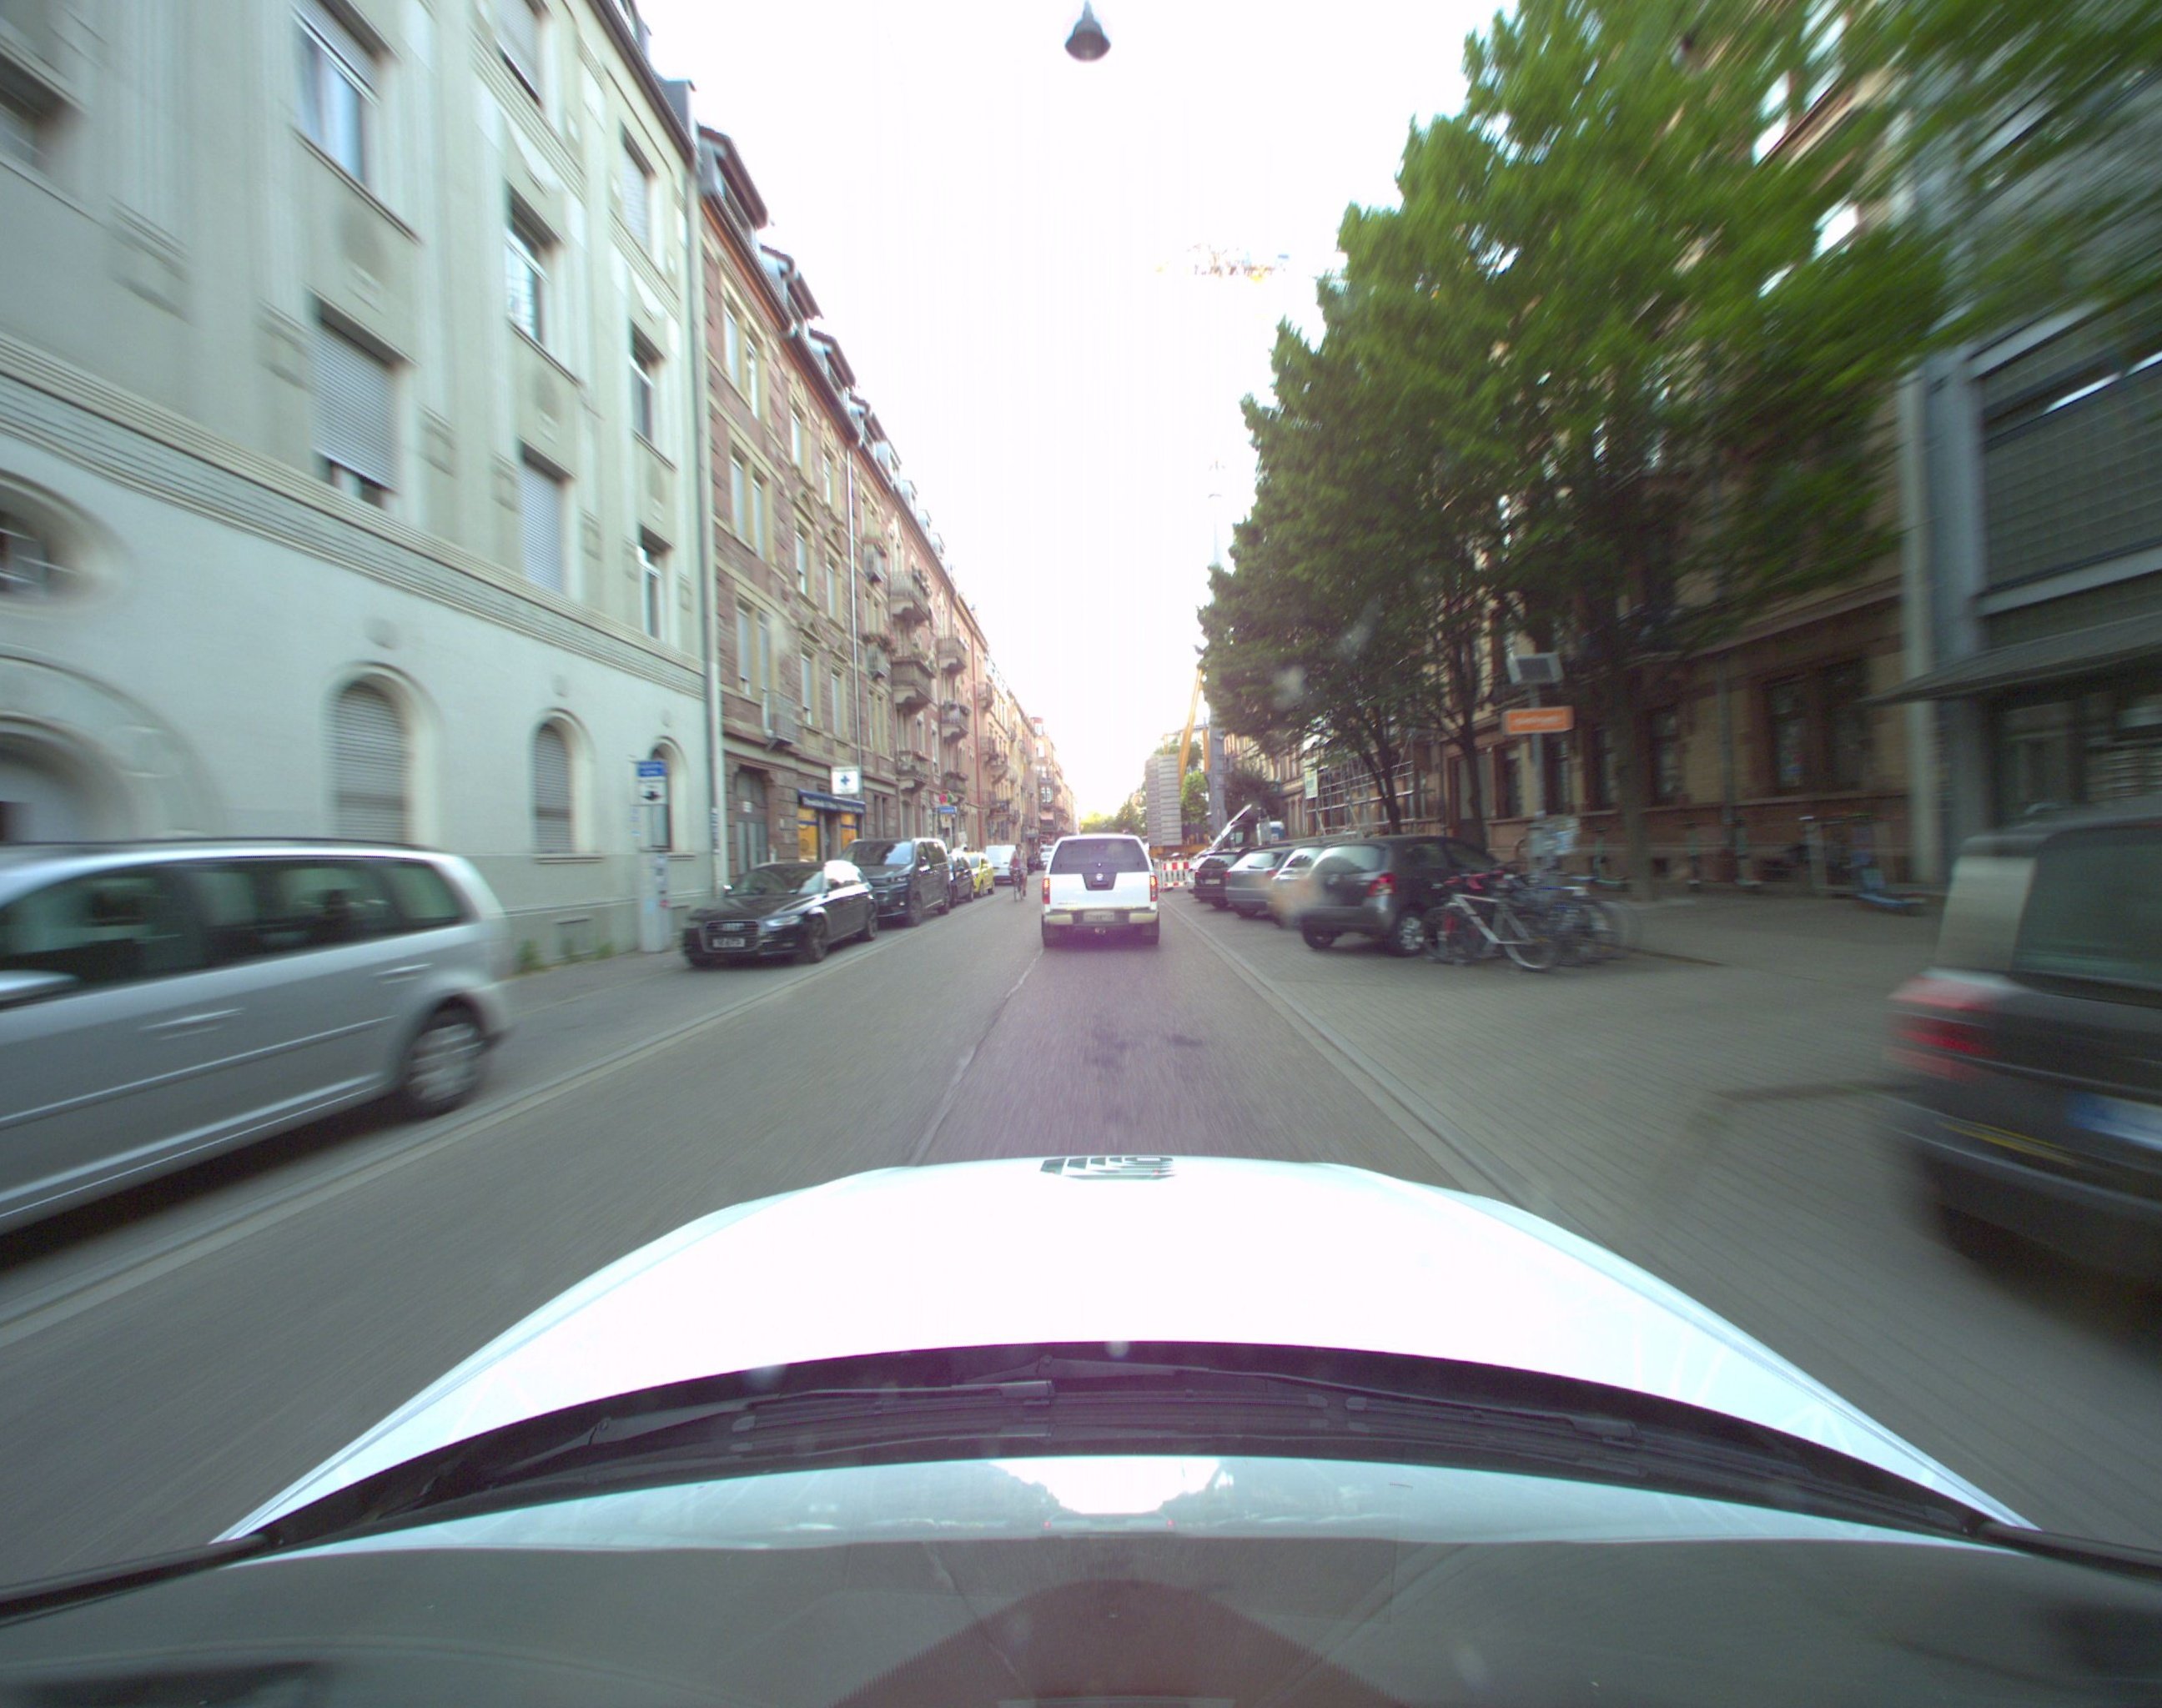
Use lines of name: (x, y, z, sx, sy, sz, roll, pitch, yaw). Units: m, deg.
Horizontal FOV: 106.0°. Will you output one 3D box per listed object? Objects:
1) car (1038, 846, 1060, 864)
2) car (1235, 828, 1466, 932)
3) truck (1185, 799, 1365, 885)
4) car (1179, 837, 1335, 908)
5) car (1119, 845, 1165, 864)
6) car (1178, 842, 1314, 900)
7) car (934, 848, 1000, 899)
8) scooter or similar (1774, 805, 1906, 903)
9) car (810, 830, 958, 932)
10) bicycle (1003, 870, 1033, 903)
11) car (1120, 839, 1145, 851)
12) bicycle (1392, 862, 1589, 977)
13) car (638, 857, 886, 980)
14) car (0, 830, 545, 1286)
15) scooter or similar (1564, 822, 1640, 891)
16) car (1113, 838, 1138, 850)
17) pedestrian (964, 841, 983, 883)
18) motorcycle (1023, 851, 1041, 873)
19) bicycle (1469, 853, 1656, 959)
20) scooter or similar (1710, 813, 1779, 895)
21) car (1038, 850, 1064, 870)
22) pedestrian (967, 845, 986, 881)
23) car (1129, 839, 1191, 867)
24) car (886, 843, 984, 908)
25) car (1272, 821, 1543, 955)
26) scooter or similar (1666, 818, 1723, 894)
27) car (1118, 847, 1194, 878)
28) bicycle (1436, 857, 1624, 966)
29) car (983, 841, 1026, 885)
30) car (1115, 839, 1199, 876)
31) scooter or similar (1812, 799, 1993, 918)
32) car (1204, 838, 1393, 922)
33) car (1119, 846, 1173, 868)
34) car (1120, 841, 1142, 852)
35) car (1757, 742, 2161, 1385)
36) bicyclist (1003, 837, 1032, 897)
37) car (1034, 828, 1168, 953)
car: (-2.826, 0.080, 72.679, 1.704, 1.530, 4.001, -2, 0, 1)
car: (4.984, 0.425, 15.059, 3.843, 1.530, 1.748, -4, 0, -24)
truck: (7.247, -0.395, 31.058, 6.295, 2.977, 2.265, -2, -3, 2)
car: (4.391, 0.397, 20.069, 3.912, 1.530, 1.619, -2, 0, -38)
car: (5.690, 0.072, 76.009, 4.176, 1.622, 1.822, -2, 0, 4)
car: (4.653, 0.440, 22.921, 3.570, 1.464, 1.596, -2, 0, -30)
car: (-3.866, 0.610, 28.269, 1.493, 1.593, 3.859, -2, 0, 3)
scooter or similar: (10.432, -0.011, 11.274, 0.409, 1.218, 1.782, -6, -1, 13)
car: (-4.204, 0.512, 18.313, 1.897, 1.925, 4.949, -1, 0, 2)
bicycle: (-1.980, 1.005, 25.900, 0.798, 0.947, 2.004, -2, 0, -1)
car: (9.711, -1.684, 153.587, 4.567, 2.177, 1.822, -2, 0, 4)
bicycle: (4.440, 0.682, 8.991, 0.696, 1.107, 1.841, -2, -1, -27)
car: (-4.573, 0.821, 12.540, 1.904, 1.472, 4.535, -1, 0, 1)
car: (-4.768, 0.729, 3.495, 1.986, 1.591, 4.315, -1, 0, 1)
scooter or similar: (10.086, 0.038, 15.816, 0.510, 1.242, 1.351, -6, 0, 0)
car: (8.147, -1.855, 149.647, 4.567, 2.177, 1.822, -2, 0, 4)
pedestrian: (-4.855, 0.351, 36.697, 0.735, 1.869, 0.618, -2, 0, 0)
motorcycle: (-3.166, 0.497, 52.760, 0.833, 1.416, 2.550, -2, 0, 3)
bicycle: (5.610, 0.587, 9.621, 0.560, 1.107, 1.841, -2, -1, -27)
scooter or similar: (10.670, -0.017, 13.146, 0.365, 1.218, 1.714, -5, -1, 25)
car: (-2.438, 0.504, 66.693, 1.785, 1.530, 4.002, -2, 0, 2)
pedestrian: (-5.402, 0.466, 42.194, 0.611, 1.869, 0.744, -2, 0, 24)
car: (5.430, -0.064, 56.306, 4.176, 1.780, 1.822, -2, 0, 4)
car: (-4.183, 0.560, 23.964, 1.897, 1.663, 4.071, -2, 0, 3)
car: (4.604, 0.382, 11.447, 3.418, 1.474, 1.758, -4, 2, -30)
scooter or similar: (10.574, 0.007, 14.072, 0.365, 1.218, 1.630, -5, -1, 25)
car: (4.233, 0.469, 46.338, 4.176, 1.622, 1.822, -2, 0, 4)
bicycle: (5.071, 0.626, 9.343, 0.560, 1.107, 1.841, -2, -1, -27)
car: (-3.503, 0.394, 37.857, 1.554, 1.921, 3.857, 0, 0, 1)
car: (3.955, 0.156, 42.255, 4.173, 1.780, 1.823, -2, 0, 7)
scooter or similar: (9.567, 0.040, 9.585, 0.464, 1.217, 1.782, -9, -2, 13)
car: (4.673, 0.489, 17.349, 3.852, 1.436, 1.744, -4, 1, -33)
car: (5.186, 0.203, 64.622, 4.176, 1.622, 1.822, -2, 0, 4)
car: (10.281, -1.469, 167.229, 4.567, 2.177, 1.822, -2, 0, 4)
car: (4.603, 0.420, 2.710, 3.999, 1.636, 1.747, -4, 0, -19)
bicyclist: (-2.005, 0.403, 25.907, 0.798, 1.849, 0.943, -2, 0, -1)
car: (0.380, 0.516, 14.234, 1.926, 1.794, 4.624, -1, 0, 2)
